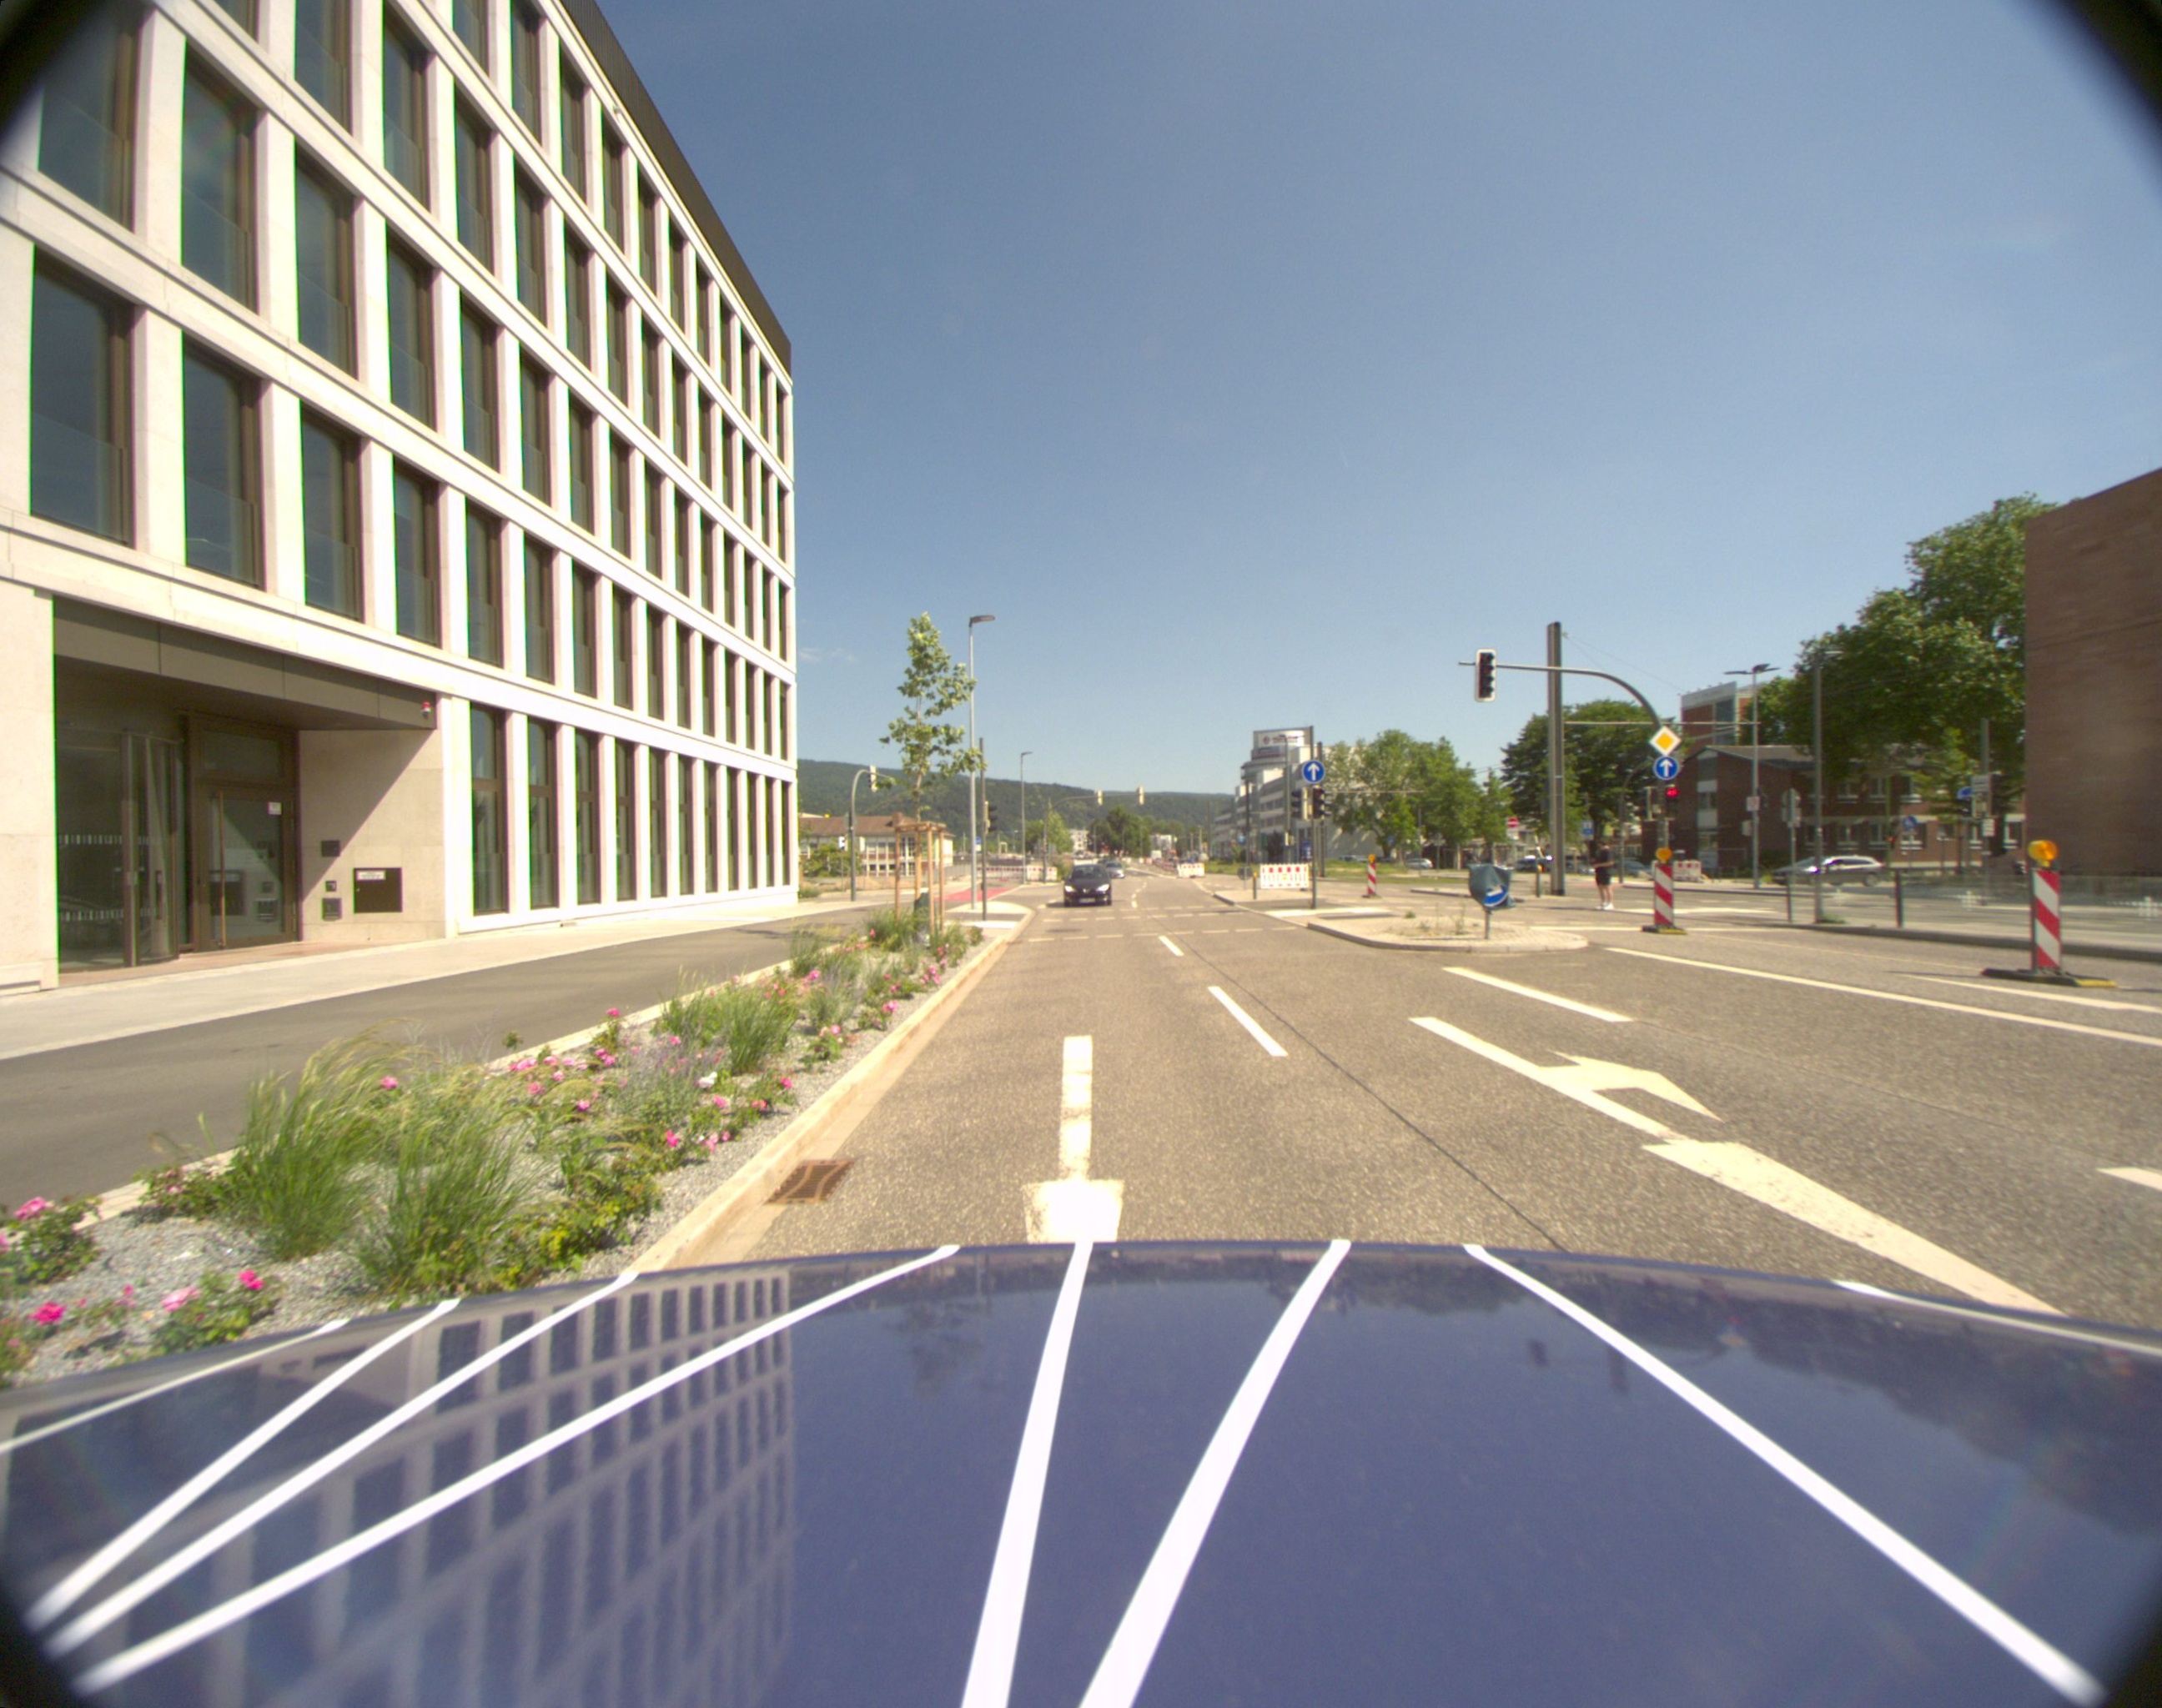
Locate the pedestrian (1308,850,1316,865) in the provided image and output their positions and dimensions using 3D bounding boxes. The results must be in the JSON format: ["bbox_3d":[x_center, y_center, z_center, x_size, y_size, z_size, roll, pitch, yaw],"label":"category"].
[{"bbox_3d":[31.320,0.472,103.066,0.841,2.002,0.983,-2,0,3],"label":"pedestrian"}]

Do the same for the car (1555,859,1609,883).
[{"bbox_3d":[39.400,1.302,59.865,1.702,1.751,3.939,-2,1,1],"label":"car"}]

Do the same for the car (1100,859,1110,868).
[{"bbox_3d":[4.319,1.638,136.413,1.618,1.433,3.768,-3,1,1],"label":"car"}]

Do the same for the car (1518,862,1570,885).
[{"bbox_3d":[39.766,1.632,65.342,1.702,1.751,4.530,-2,1,1],"label":"car"}]

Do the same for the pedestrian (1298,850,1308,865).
[{"bbox_3d":[30.151,0.515,103.156,0.985,2.002,0.910,-2,0,3],"label":"pedestrian"}]

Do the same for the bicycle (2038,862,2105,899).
[{"bbox_3d":[34.108,0.908,26.165,2.058,1.205,0.539,-1,0,-10],"label":"bicycle"}]

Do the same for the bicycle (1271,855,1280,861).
[{"bbox_3d":[40.008,0.780,156.004,1.650,1.182,0.438,-3,0,1],"label":"bicycle"}]

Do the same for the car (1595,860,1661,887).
[{"bbox_3d":[39.308,1.347,54.738,1.702,1.751,4.300,-2,1,1],"label":"car"}]

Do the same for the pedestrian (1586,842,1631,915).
[{"bbox_3d":[13.622,0.630,19.628,0.654,1.823,0.661,-2,0,5],"label":"pedestrian"}]

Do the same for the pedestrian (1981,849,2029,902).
[{"bbox_3d":[27.916,0.634,22.965,0.934,1.553,0.792,-2,0,-32],"label":"pedestrian"}]

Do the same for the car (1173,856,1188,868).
[{"bbox_3d":[12.545,0.981,95.992,1.631,1.419,4.290,-1,1,5],"label":"car"}]

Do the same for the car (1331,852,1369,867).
[{"bbox_3d":[40.588,0.893,114.718,5.063,2.167,2.117,-1,1,27],"label":"car"}]

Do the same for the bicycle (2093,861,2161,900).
[{"bbox_3d":[34.141,0.853,24.736,2.058,1.205,0.539,-1,0,-10],"label":"bicycle"}]

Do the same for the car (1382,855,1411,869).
[{"bbox_3d":[38.439,0.981,92.721,1.773,1.581,3.636,-3,0,-4],"label":"car"}]

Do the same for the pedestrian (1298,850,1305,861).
[{"bbox_3d":[31.358,0.220,107.850,0.816,1.567,0.827,-1,0,6],"label":"pedestrian"}]

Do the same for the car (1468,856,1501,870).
[{"bbox_3d":[48.315,1.040,91.054,1.773,1.581,3.636,-3,0,-4],"label":"car"}]

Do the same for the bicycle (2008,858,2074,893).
[{"bbox_3d":[33.988,0.751,26.914,2.058,1.205,0.539,-1,0,-10],"label":"bicycle"}]

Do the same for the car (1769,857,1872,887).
[{"bbox_3d":[36.178,0.869,37.215,3.487,1.361,1.573,-2,0,0],"label":"car"}]

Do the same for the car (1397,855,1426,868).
[{"bbox_3d":[40.790,0.906,93.902,1.773,1.581,3.636,-3,0,-4],"label":"car"}]

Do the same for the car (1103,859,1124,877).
[{"bbox_3d":[2.773,1.178,65.849,1.618,1.432,3.768,-1,0,0],"label":"car"}]

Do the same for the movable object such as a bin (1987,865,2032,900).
[{"bbox_3d":[28.624,0.868,23.434,0.716,1.025,0.792,-2,0,-33],"label":"movable object such as a bin"}]

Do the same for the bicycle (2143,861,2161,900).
[{"bbox_3d":[34.467,0.808,23.821,2.058,1.205,0.539,-1,0,-11],"label":"bicycle"}]

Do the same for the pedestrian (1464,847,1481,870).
[{"bbox_3d":[31.120,0.372,60.451,0.813,1.836,1.108,-1,0,7],"label":"pedestrian"}]

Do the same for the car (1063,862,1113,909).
[{"bbox_3d":[0.282,1.069,26.992,1.618,1.433,3.706,-1,1,1],"label":"car"}]

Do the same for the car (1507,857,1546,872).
[{"bbox_3d":[45.279,1.019,77.328,1.542,1.448,4.267,-1,0,1],"label":"car"}]
